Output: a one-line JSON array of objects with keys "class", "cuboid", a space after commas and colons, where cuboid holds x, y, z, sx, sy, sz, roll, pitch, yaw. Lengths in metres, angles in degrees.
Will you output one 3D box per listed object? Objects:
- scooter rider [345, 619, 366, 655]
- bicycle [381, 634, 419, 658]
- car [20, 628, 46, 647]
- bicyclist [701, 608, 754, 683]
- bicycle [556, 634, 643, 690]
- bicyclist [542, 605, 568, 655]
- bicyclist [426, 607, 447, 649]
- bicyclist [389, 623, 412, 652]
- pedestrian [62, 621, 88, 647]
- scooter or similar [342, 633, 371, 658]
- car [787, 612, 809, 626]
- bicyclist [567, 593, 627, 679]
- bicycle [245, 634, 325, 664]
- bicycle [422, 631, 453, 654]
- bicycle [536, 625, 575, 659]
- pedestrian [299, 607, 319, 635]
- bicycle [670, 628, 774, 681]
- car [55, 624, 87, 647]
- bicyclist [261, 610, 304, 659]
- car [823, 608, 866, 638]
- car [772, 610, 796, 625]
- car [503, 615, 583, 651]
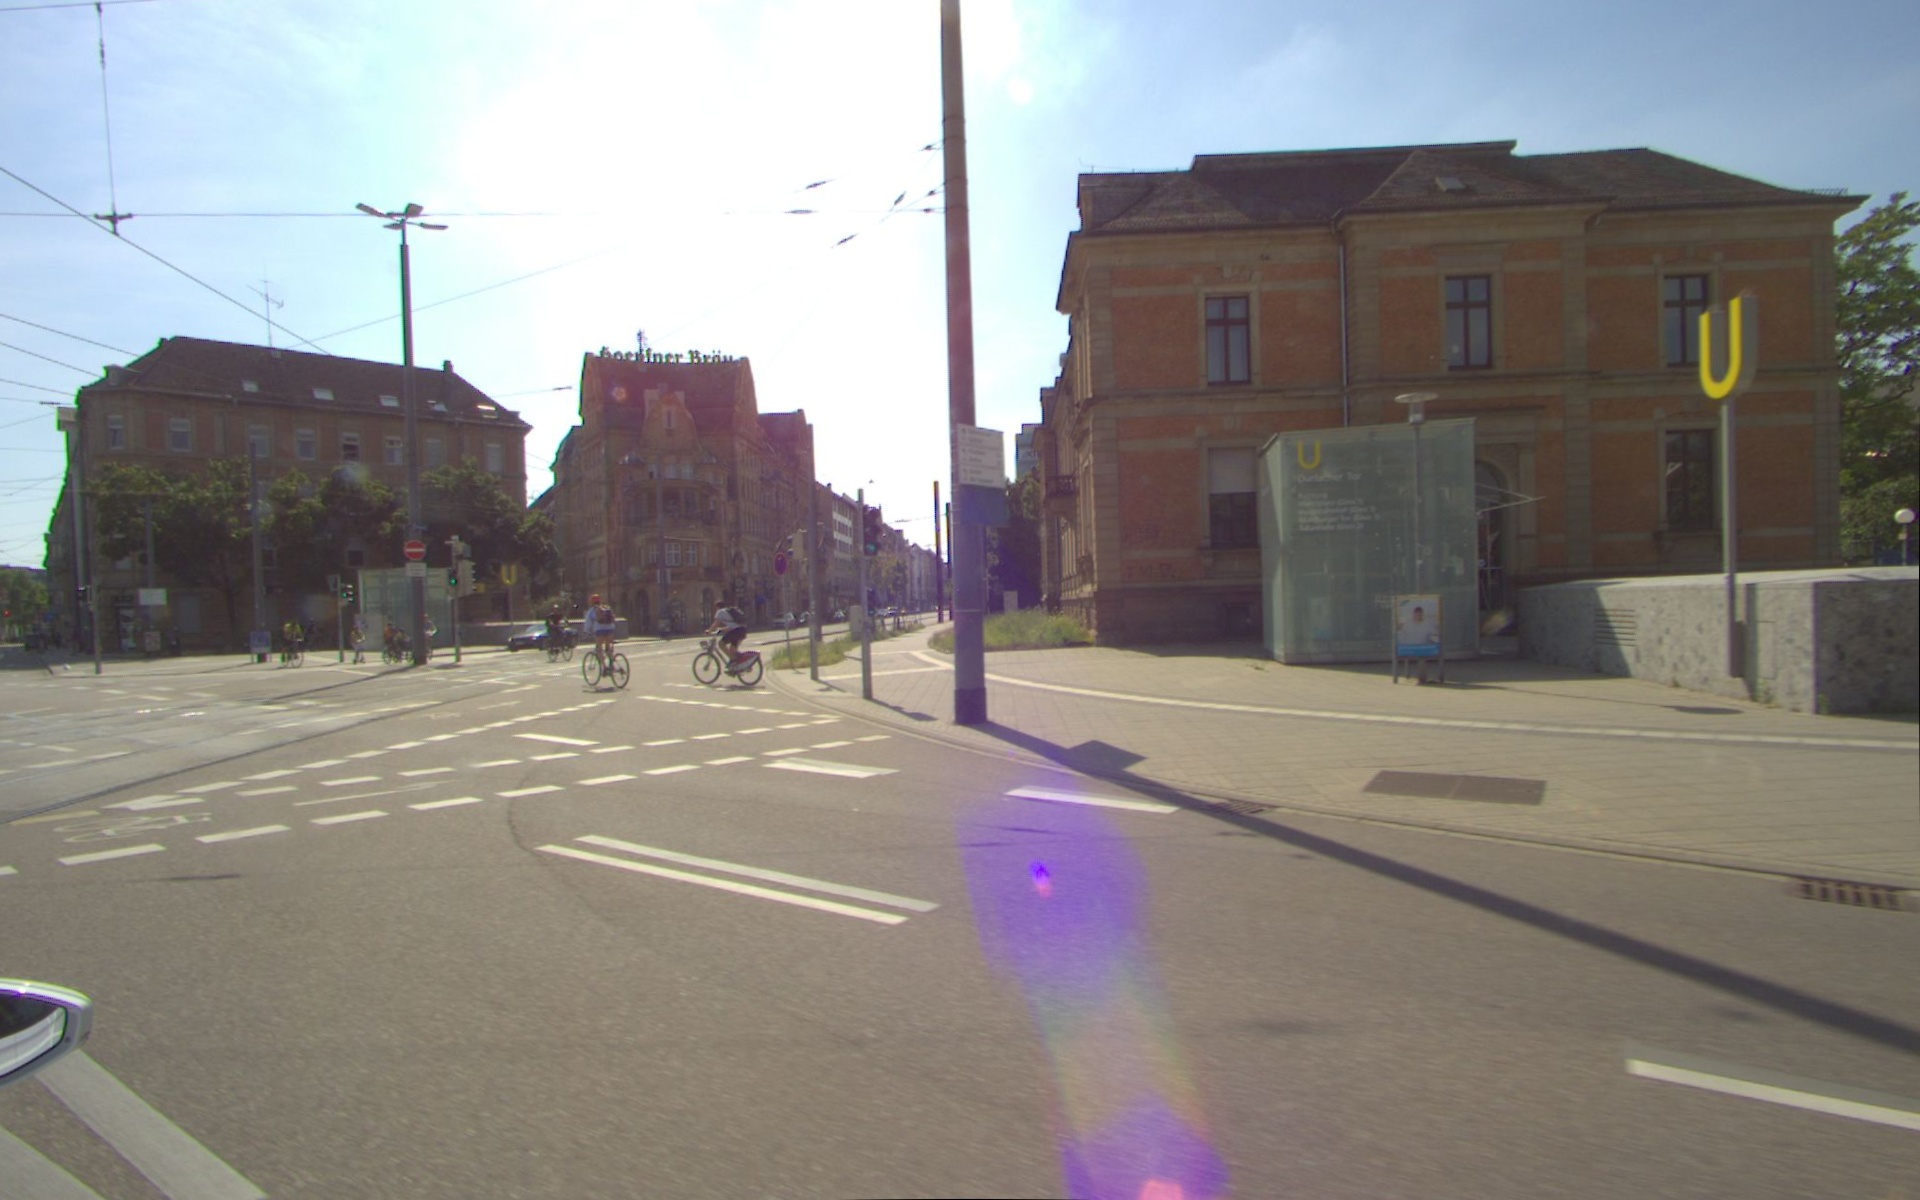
[{"class": "scooter rider", "cuboid": [-23.910, 1.451, 39.598, 0.401, 1.415, 0.585, -2, -2, 32]}, {"class": "bicycle", "cuboid": [-20.770, 1.688, 37.122, 1.564, 0.877, 0.499, -1, -1, 31]}, {"class": "car", "cuboid": [-103.992, 4.199, 112.289, 2.094, 2.039, 3.964, 1, -3, -43]}, {"class": "bicyclist", "cuboid": [-4.814, 0.938, 20.776, 0.931, 1.506, 0.717, -1, -2, -1]}, {"class": "bicycle", "cuboid": [-7.384, 1.246, 20.474, 1.997, 1.029, 0.710, -2, 2, 40]}, {"class": "bicyclist", "cuboid": [-13.461, 0.997, 33.273, 0.660, 1.645, 0.777, 0, -1, -35]}, {"class": "bicyclist", "cuboid": [-20.590, 1.118, 39.390, 0.641, 1.642, 0.498, -1, -1, 37]}, {"class": "bicyclist", "cuboid": [-20.740, 1.383, 37.111, 0.596, 1.042, 0.499, -1, -1, 30]}, {"class": "pedestrian", "cuboid": [-51.939, 2.001, 58.760, 0.870, 1.452, 0.712, -2, 1, -12]}, {"class": "scooter or similar", "cuboid": [-23.845, 1.799, 39.554, 0.978, 0.988, 0.585, -2, -2, 32]}, {"class": "car", "cuboid": [-17.149, 2.039, 106.103, 1.606, 1.363, 3.610, -2, 0, 1]}, {"class": "bicyclist", "cuboid": [-7.408, 0.728, 20.442, 0.864, 1.692, 0.710, -1, 3, 40]}, {"class": "bicycle", "cuboid": [-26.169, 1.895, 38.809, 2.695, 1.082, 0.929, -2, -2, 11]}, {"class": "bicycle", "cuboid": [-20.538, 1.678, 39.345, 1.567, 0.877, 0.498, -2, -2, 38]}, {"class": "bicycle", "cuboid": [-13.416, 1.362, 33.189, 0.660, 1.083, 2.447, 0, -1, -35]}, {"class": "pedestrian", "cuboid": [-35.239, 1.143, 54.237, 0.699, 1.451, 0.614, -1, -2, -6]}, {"class": "bicycle", "cuboid": [-4.925, 1.129, 20.773, 1.981, 1.028, 0.717, -1, -2, -2]}, {"class": "car", "cuboid": [-83.226, 3.301, 93.714, 3.960, 2.039, 1.982, -3, -3, 44]}, {"class": "bicyclist", "cuboid": [-26.287, 1.353, 38.880, 1.032, 1.843, 0.929, -1, -2, 11]}, {"class": "car", "cuboid": [-5.366, 1.050, 46.747, 1.639, 1.330, 3.452, -2, 0, -1]}, {"class": "car", "cuboid": [-17.334, 1.731, 98.712, 1.606, 1.363, 3.583, -2, 0, 1]}, {"class": "car", "cuboid": [-20.429, 1.569, 49.201, 1.608, 1.604, 3.996, -2, 0, 12]}]
